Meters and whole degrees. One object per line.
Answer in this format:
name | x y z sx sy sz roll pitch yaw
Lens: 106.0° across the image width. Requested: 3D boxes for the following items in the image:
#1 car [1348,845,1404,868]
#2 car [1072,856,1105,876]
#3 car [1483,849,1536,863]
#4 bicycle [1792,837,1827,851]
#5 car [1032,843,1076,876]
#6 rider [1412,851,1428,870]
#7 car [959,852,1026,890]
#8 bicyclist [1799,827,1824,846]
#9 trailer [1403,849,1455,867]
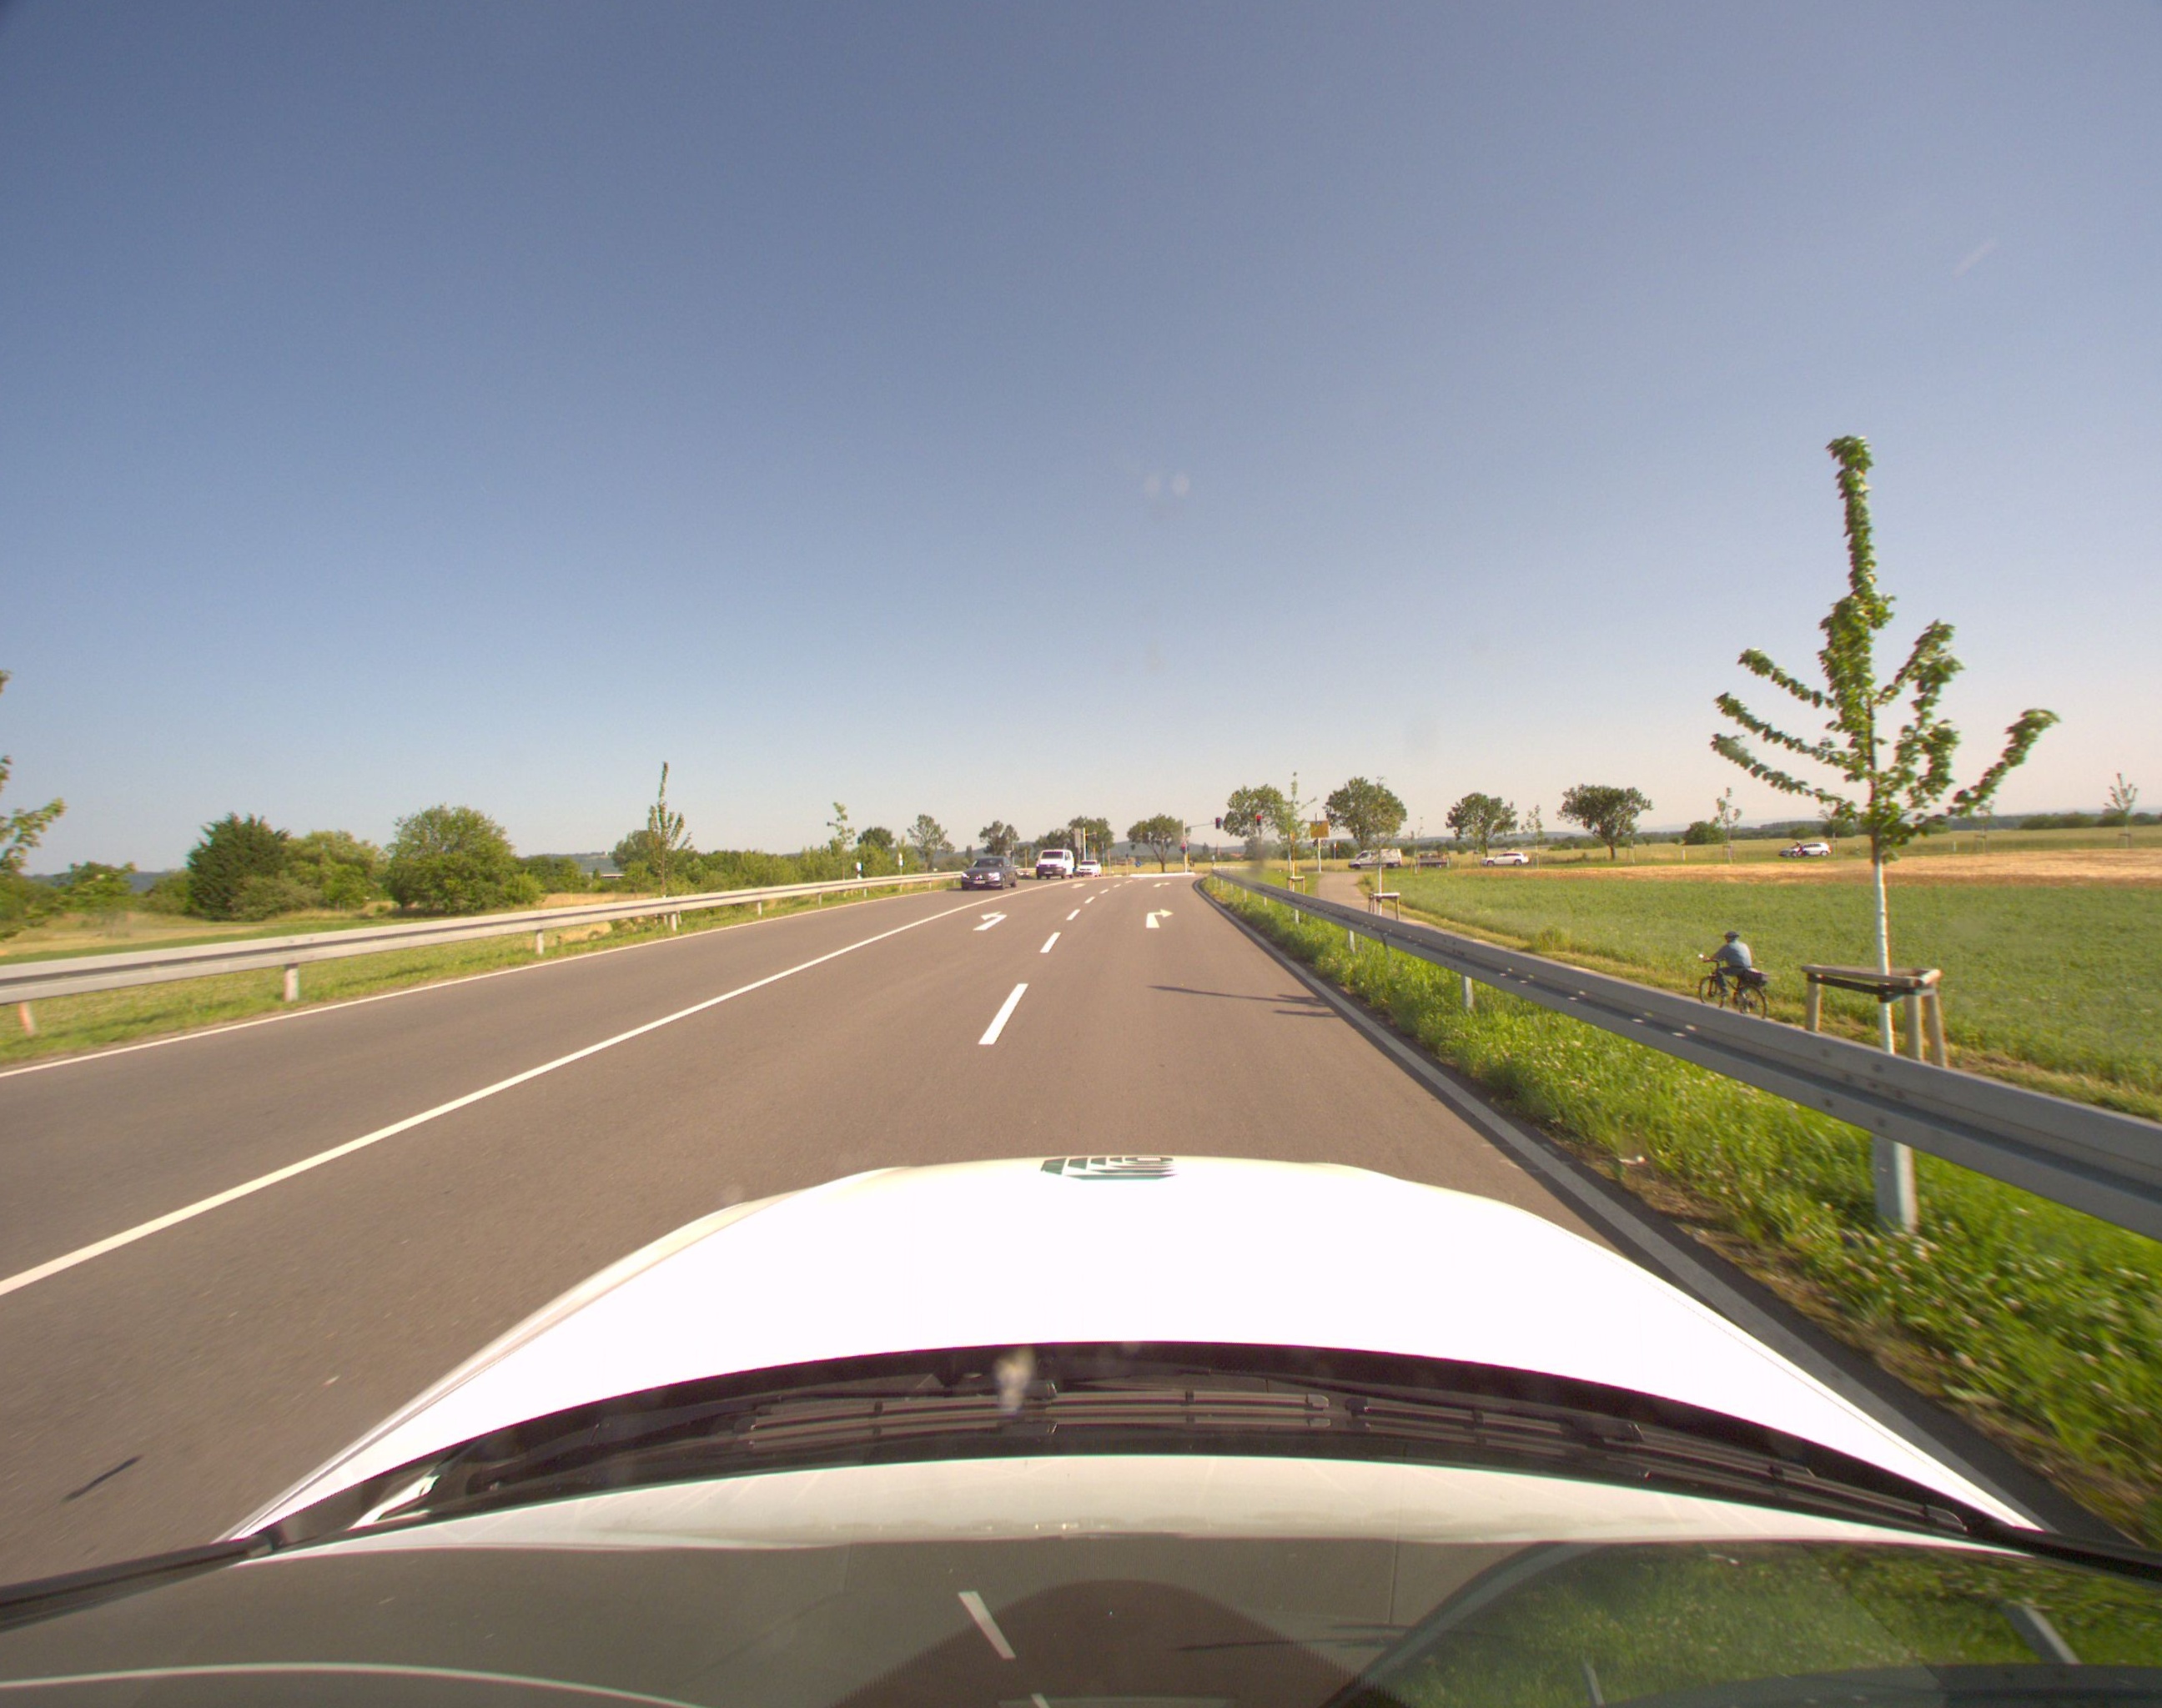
car | 33.860 0.316 93.564 5.906 2.493 2.010 -1 -2 21
car | 0.687 1.050 71.196 2.102 1.493 5.168 0 2 10
car | 46.768 0.247 89.061 4.829 1.510 2.009 -1 -2 18
bicycle | 65.963 -0.893 73.745 2.138 1.186 0.894 -2 -2 18
car | -1.741 0.300 54.539 2.103 2.013 5.165 0 2 7
rider | 29.653 0.594 71.264 0.823 1.643 0.983 -3 0 -26
car | -3.900 0.714 36.868 1.784 1.448 4.719 0 2 10
bicyclist | 65.992 -1.557 73.571 1.268 1.601 1.171 -2 0 18
trailer | 39.078 0.479 91.559 5.215 1.753 1.964 -2 -2 21
